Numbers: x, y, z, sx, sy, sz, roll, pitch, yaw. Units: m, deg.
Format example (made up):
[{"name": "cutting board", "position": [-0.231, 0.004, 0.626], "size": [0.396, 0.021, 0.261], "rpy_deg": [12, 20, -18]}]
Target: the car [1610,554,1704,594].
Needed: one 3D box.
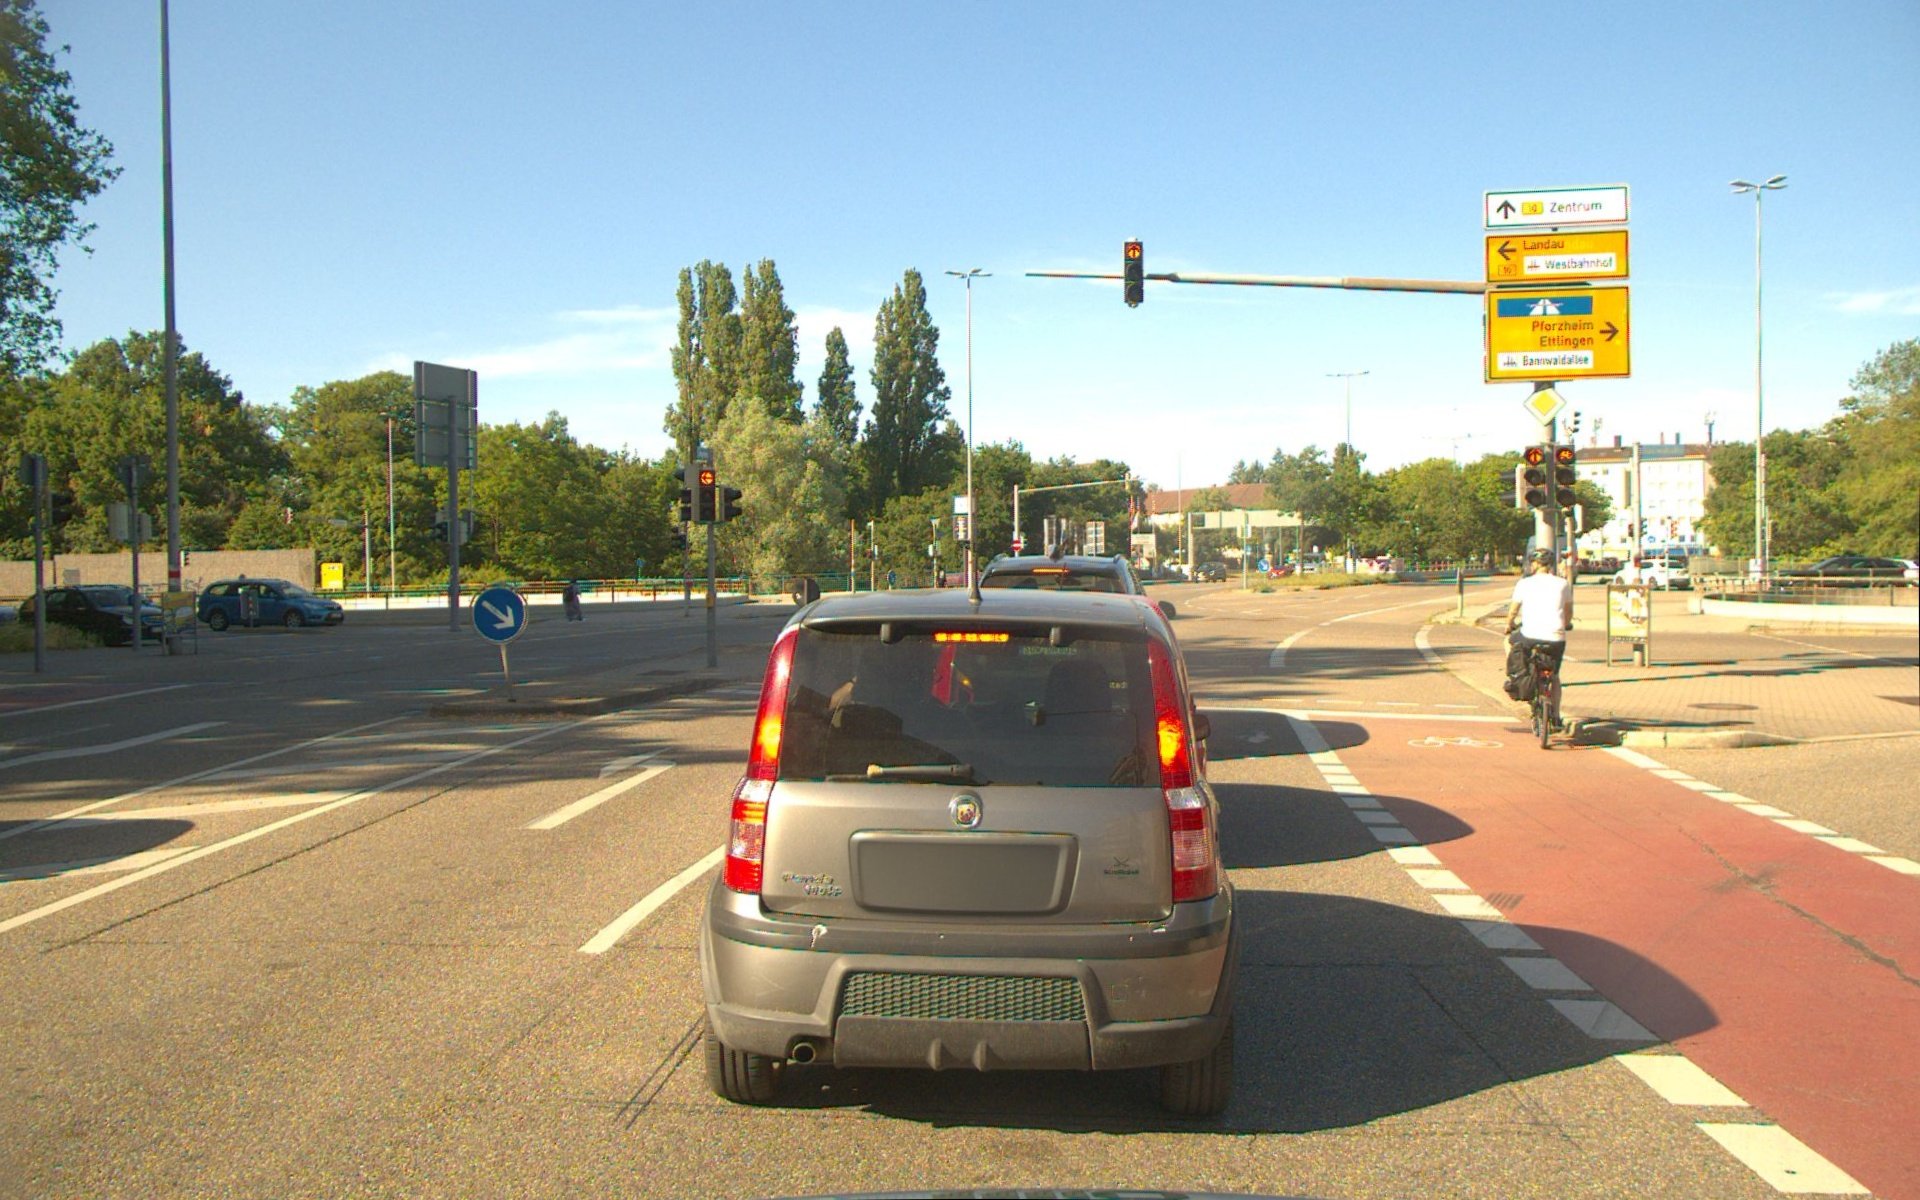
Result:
[{"name": "car", "position": [33.332, -1.217, 79.213], "size": [1.966, 1.781, 3.973], "rpy_deg": [1, -2, -22]}]

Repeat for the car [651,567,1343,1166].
[{"name": "car", "position": [0.189, 0.669, 6.360], "size": [1.782, 1.515, 4.002], "rpy_deg": [2, 1, 3]}]

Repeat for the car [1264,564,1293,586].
[{"name": "car", "position": [30.402, -2.380, 157.869], "size": [1.971, 1.887, 4.887], "rpy_deg": [0, -2, 19]}]

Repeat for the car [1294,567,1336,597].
[{"name": "car", "position": [24.762, -1.254, 115.205], "size": [1.972, 1.887, 4.884], "rpy_deg": [0, -2, 23]}]

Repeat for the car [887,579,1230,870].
[{"name": "car", "position": [0.590, 0.639, 10.723], "size": [1.782, 1.505, 4.001], "rpy_deg": [1, 0, 2]}]

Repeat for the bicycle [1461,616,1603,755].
[{"name": "bicycle", "position": [5.487, 0.762, 15.765], "size": [0.785, 1.130, 2.396], "rpy_deg": [1, 2, 31]}]

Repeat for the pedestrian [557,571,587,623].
[{"name": "pedestrian", "position": [-12.501, -0.086, 53.362], "size": [0.673, 1.565, 1.365], "rpy_deg": [0, -4, -3]}]

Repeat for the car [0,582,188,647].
[{"name": "car", "position": [-21.010, 0.353, 39.923], "size": [4.345, 1.464, 1.826], "rpy_deg": [-1, 1, 22]}]

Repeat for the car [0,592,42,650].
[{"name": "car", "position": [-26.406, 0.561, 43.271], "size": [4.345, 1.464, 1.826], "rpy_deg": [-1, 1, 22]}]

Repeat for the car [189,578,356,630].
[{"name": "car", "position": [-20.702, 0.110, 49.861], "size": [4.341, 1.464, 1.828], "rpy_deg": [-1, 1, 13]}]

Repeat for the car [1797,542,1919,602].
[{"name": "car", "position": [33.206, -0.999, 60.943], "size": [3.922, 2.049, 1.991], "rpy_deg": [-1, -2, 38]}]

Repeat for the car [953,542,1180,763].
[{"name": "car", "position": [1.178, 0.391, 16.111], "size": [1.829, 1.821, 4.418], "rpy_deg": [1, 1, 8]}]

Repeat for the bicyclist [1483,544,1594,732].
[{"name": "bicyclist", "position": [5.567, 0.331, 15.884], "size": [0.785, 1.734, 1.083], "rpy_deg": [1, 2, 32]}]

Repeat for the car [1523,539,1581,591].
[{"name": "car", "position": [33.242, -1.925, 92.964], "size": [2.206, 2.653, 4.890], "rpy_deg": [0, -1, 9]}]

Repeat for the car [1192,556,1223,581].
[{"name": "car", "position": [21.296, -2.686, 142.307], "size": [1.971, 1.887, 4.432], "rpy_deg": [0, -2, 18]}]
